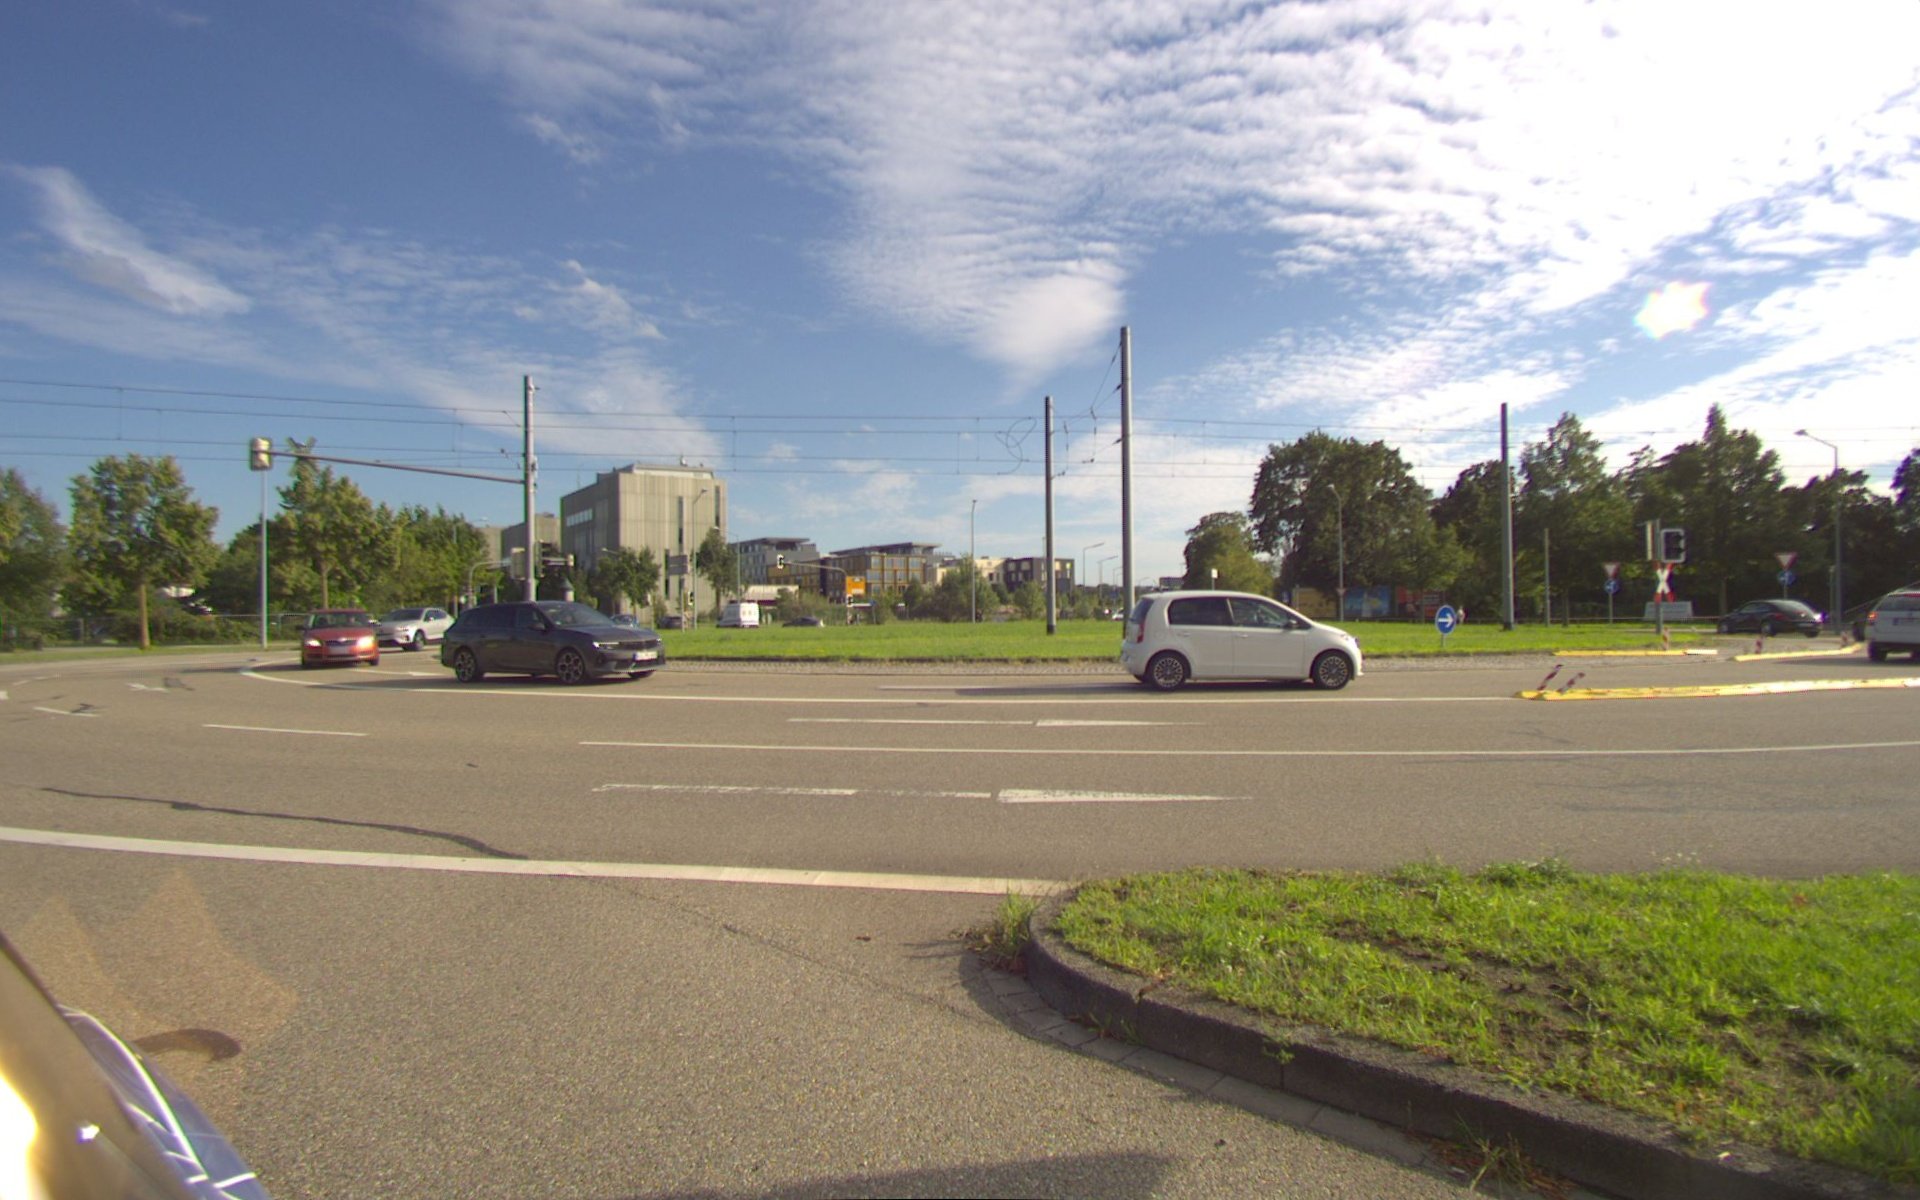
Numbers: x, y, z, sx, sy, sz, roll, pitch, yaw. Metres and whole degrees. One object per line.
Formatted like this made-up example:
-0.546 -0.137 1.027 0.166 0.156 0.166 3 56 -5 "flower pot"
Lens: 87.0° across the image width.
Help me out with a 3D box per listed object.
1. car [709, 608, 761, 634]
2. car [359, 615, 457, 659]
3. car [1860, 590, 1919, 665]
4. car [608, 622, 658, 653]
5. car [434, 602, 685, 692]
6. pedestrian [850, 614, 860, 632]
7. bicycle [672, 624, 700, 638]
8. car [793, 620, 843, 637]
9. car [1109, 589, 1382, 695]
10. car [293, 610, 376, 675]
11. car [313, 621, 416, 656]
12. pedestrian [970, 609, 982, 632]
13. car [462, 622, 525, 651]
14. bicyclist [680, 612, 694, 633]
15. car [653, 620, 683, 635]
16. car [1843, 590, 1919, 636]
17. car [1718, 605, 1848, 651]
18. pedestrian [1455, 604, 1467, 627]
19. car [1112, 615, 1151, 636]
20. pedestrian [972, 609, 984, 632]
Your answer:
-20.925 1.985 93.831 2.034 2.281 6.032 3 -3 -41 "car"
-20.317 1.330 37.407 1.669 1.486 4.232 -1 -1 -6 "car"
20.491 0.523 20.976 4.563 1.456 1.861 0 1 -37 "car"
-19.339 2.209 60.044 1.969 1.674 4.811 -1 -1 -7 "car"
-7.279 0.828 18.305 4.427 1.431 1.807 -2 0 29 "car"
-9.626 2.100 92.408 0.618 1.642 0.659 -2 -1 -33 "pedestrian"
-21.462 2.420 79.328 1.928 1.015 1.005 0 -1 -30 "bicycle"
-11.182 2.259 79.431 3.992 1.275 1.662 -2 -3 41 "car"
4.187 0.610 15.313 3.610 1.475 1.766 -1 -1 2 "car"
-15.932 1.051 25.896 1.666 1.486 4.239 -1 -1 -30 "car"
-31.267 1.992 53.339 1.979 1.674 4.785 -1 -1 12 "car"
1.404 1.781 88.828 0.883 1.930 0.867 -3 0 -4 "pedestrian"
-29.860 2.311 64.919 1.971 1.674 4.806 -1 -1 -3 "car"
-21.427 1.763 79.350 0.851 1.567 1.000 0 -1 -30 "bicyclist"
-31.090 2.968 107.722 1.658 1.513 4.002 2 -3 -37 "car"
30.740 0.405 32.976 1.826 1.442 3.967 -1 -1 24 "car"
32.138 1.044 39.676 1.975 1.552 3.995 -3 0 4 "car"
35.808 1.082 72.358 0.541 1.637 0.505 -1 -1 4 "pedestrian"
13.570 1.985 79.738 1.884 1.588 4.385 -1 -1 26 "car"
1.528 1.783 87.933 0.883 1.930 0.867 -3 0 -4 "pedestrian"
